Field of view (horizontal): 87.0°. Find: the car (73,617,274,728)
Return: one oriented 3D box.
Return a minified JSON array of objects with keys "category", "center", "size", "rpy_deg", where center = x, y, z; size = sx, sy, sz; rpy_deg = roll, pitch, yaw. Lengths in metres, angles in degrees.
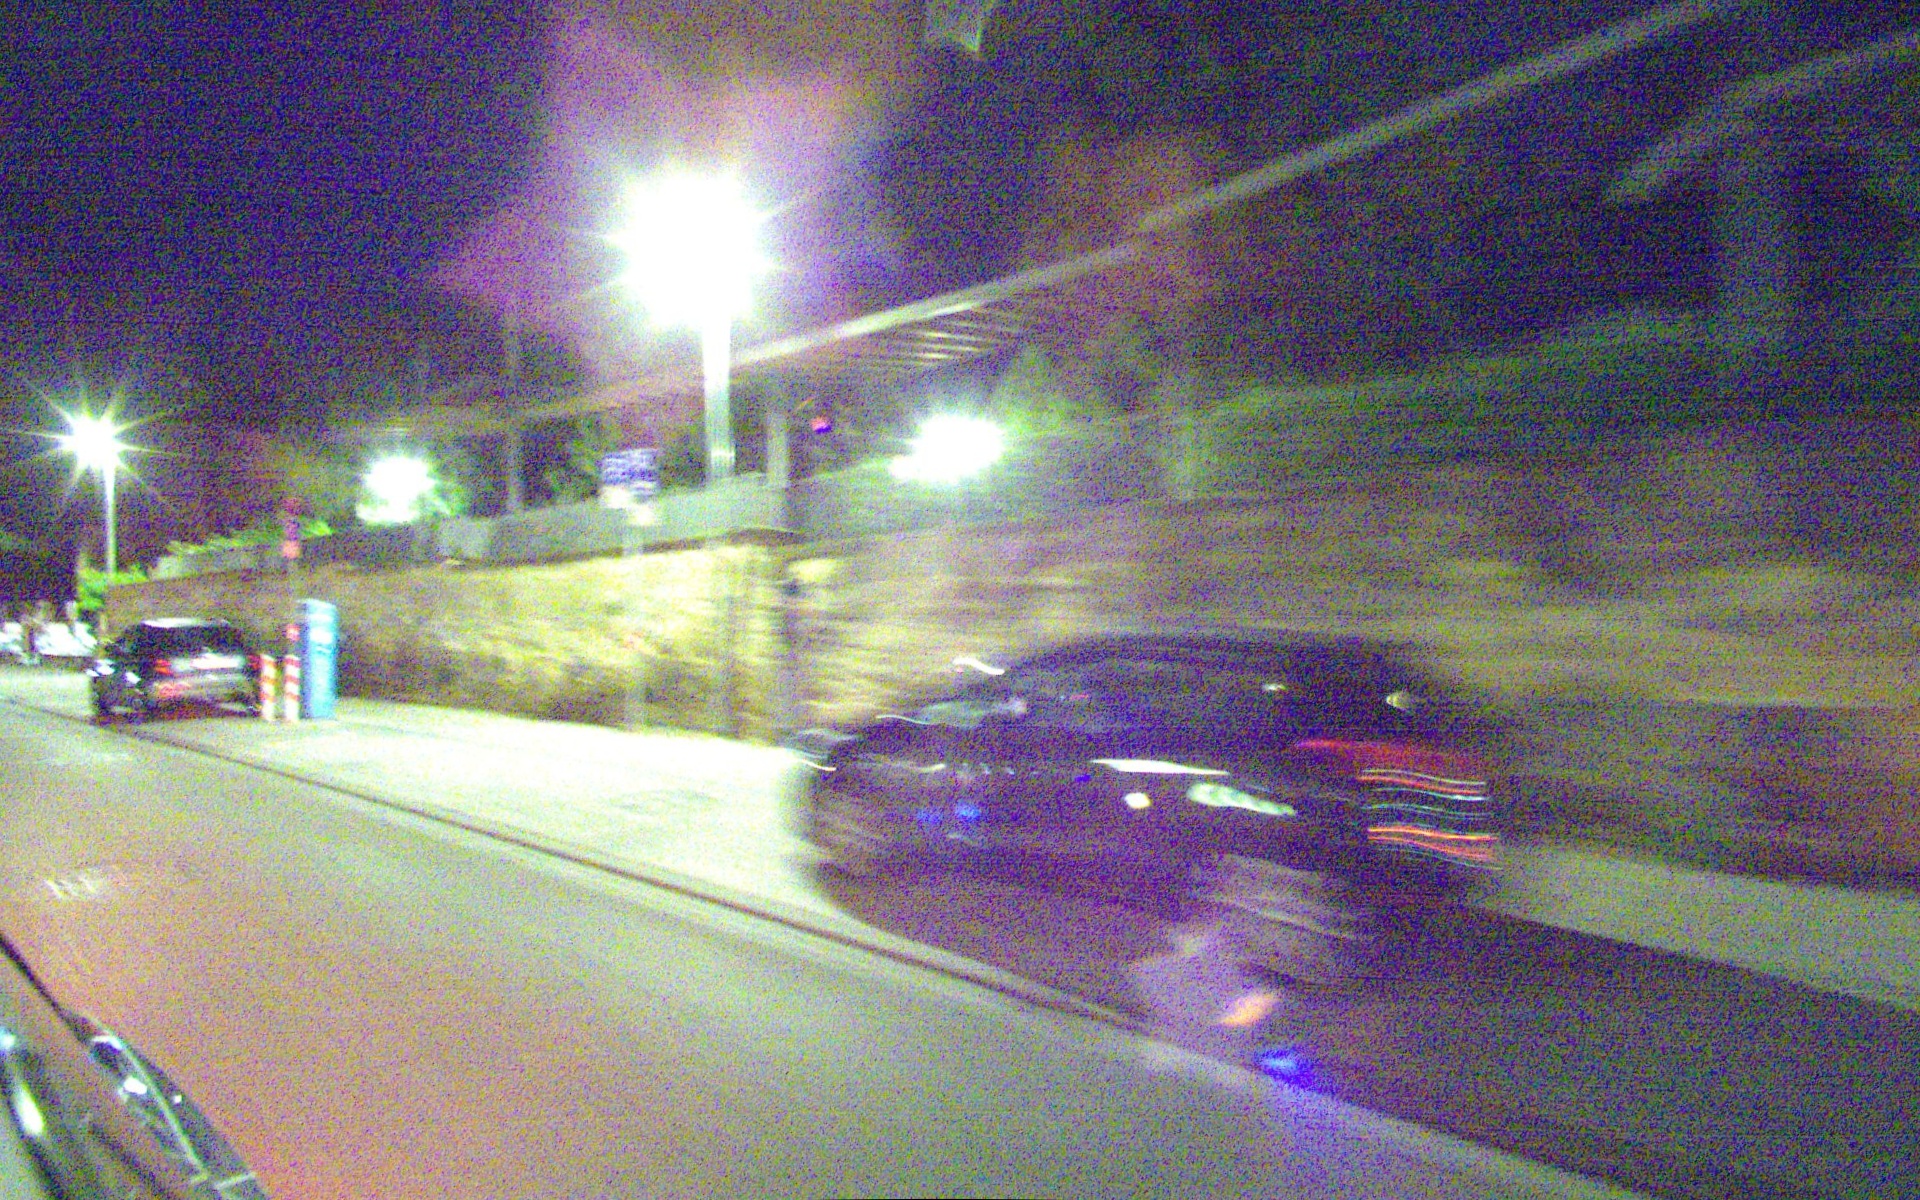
[{"category":"car","center":[-12.748,1.066,16.347],"size":[3.685,1.535,1.676],"rpy_deg":[0,0,37]}]

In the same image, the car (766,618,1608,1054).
[{"category":"car","center":[0.916,0.853,5.452],"size":[4.126,1.447,1.674],"rpy_deg":[-1,-1,41]}]
